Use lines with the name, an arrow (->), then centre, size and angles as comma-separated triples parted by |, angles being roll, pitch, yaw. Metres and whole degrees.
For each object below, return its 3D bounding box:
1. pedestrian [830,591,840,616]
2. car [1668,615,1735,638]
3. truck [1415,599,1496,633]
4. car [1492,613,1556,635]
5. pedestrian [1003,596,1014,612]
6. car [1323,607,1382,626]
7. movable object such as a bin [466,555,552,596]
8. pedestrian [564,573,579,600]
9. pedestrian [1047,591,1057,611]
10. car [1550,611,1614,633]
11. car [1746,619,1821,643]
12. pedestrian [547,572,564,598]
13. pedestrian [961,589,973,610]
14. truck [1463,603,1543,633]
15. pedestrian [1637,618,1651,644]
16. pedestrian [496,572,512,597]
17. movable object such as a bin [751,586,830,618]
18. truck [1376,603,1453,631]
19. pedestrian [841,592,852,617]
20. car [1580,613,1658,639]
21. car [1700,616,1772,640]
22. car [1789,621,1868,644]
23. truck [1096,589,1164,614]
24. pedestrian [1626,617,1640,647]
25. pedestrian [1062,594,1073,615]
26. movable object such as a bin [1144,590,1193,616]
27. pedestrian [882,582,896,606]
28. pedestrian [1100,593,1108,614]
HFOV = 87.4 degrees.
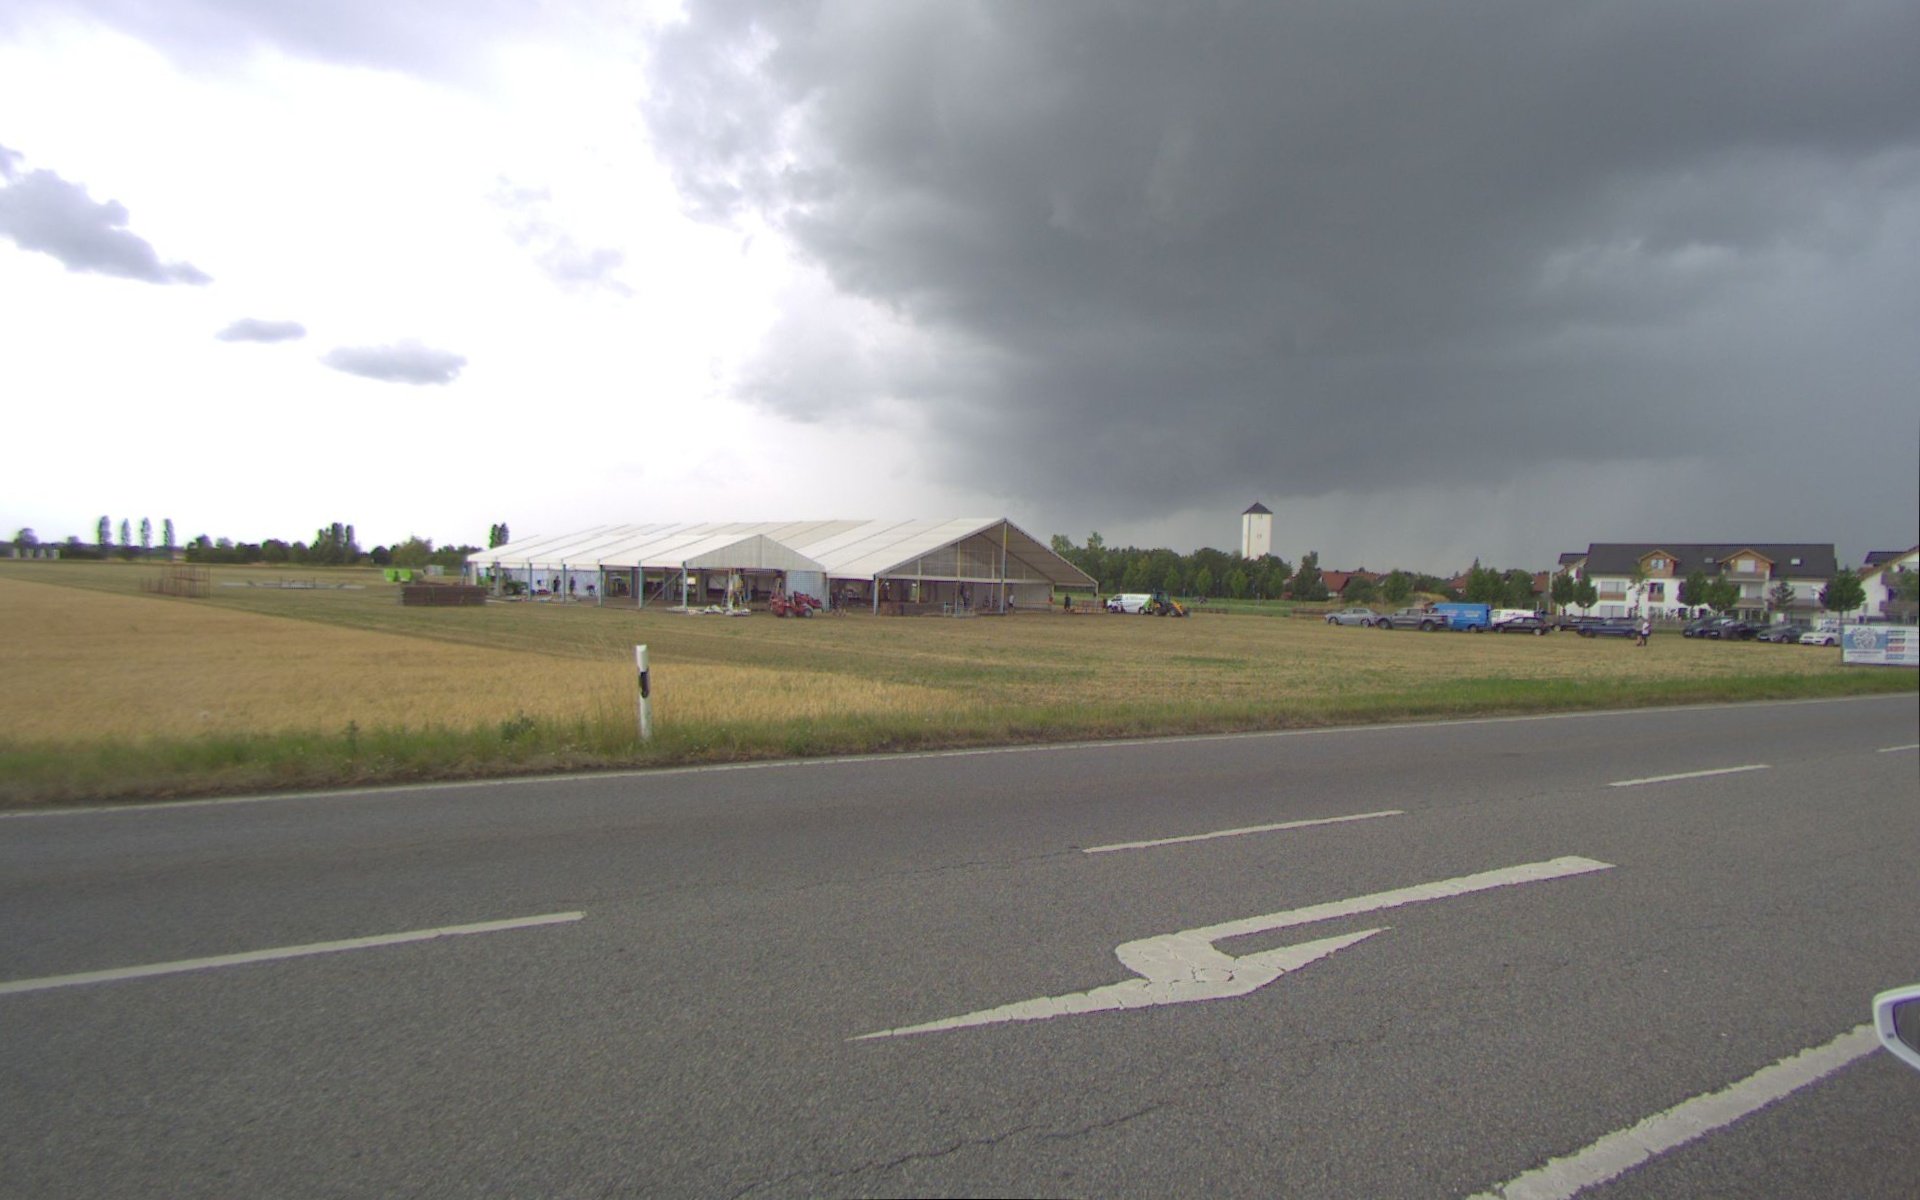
pedestrian -> -8.374, 0.252, 67.211 | 0.573, 1.649, 0.470 | 2, 1, -9
car -> 58.662, 2.066, 79.466 | 4.137, 1.651, 1.996 | 1, 0, -11
truck -> 39.327, 1.216, 79.795 | 5.380, 2.478, 2.384 | 2, 1, 38
car -> 44.687, 1.890, 79.595 | 4.107, 1.539, 1.990 | 2, 1, 41
pedestrian -> 4.156, 0.326, 85.982 | 0.689, 1.288, 0.682 | 1, 1, -40
car -> 33.183, 1.383, 84.961 | 4.237, 1.481, 1.886 | 2, 1, 35
movable object such as a bin -> -39.941, -2.182, 88.902 | 7.468, 3.220, 4.138 | 3, 1, 41
pedestrian -> -30.838, -1.060, 79.798 | 0.930, 2.130, 0.861 | 1, 1, -30
pedestrian -> 8.202, 0.101, 89.224 | 0.682, 1.799, 0.689 | 2, 1, -12
car -> 55.055, 1.959, 88.943 | 4.572, 1.720, 1.990 | 2, 1, 41
car -> 59.353, 2.231, 72.419 | 4.137, 1.556, 1.996 | 1, 0, -11
pedestrian -> -31.403, -1.157, 77.952 | 1.006, 2.040, 0.806 | 2, 1, -7
pedestrian -> 0.595, -0.076, 86.903 | 0.689, 1.799, 0.682 | 1, 1, -40
truck -> 45.452, 1.475, 84.075 | 5.495, 2.226, 2.596 | 2, 1, 38
pedestrian -> 43.200, 1.940, 63.452 | 0.583, 1.576, 0.622 | 2, 1, 42
pedestrian -> -37.081, -1.248, 81.707 | 1.011, 2.040, 0.802 | 2, 1, 43
movable object such as a bin -> -10.820, 0.144, 64.464 | 2.556, 1.889, 4.456 | 2, 0, 37
truck -> 35.401, 1.334, 78.319 | 5.156, 1.946, 2.106 | 2, 1, 35
pedestrian -> -7.519, 0.297, 66.383 | 0.543, 1.649, 0.544 | 2, 1, -20
car -> 49.537, 1.950, 75.567 | 4.661, 1.720, 1.990 | 2, 1, 41
car -> 58.245, 2.101, 75.411 | 4.137, 1.651, 1.996 | 1, 0, -11
car -> 60.312, 2.253, 69.795 | 4.137, 1.465, 1.996 | 2, 0, -11
truck -> 16.642, 0.120, 98.225 | 5.962, 2.246, 2.713 | 2, 1, 34
pedestrian -> 42.149, 2.009, 62.879 | 0.673, 1.809, 0.543 | 1, 1, -41
pedestrian -> 9.369, 0.419, 87.383 | 0.679, 1.799, 0.693 | 2, 1, -14
movable object such as a bin -> 19.115, 0.295, 92.113 | 3.929, 2.273, 1.880 | 2, 1, 33
pedestrian -> -6.094, -0.505, 85.829 | 0.868, 2.040, 0.761 | 1, 1, -34
pedestrian -> 13.157, 0.310, 91.721 | 0.694, 1.890, 0.626 | 2, 1, 13
